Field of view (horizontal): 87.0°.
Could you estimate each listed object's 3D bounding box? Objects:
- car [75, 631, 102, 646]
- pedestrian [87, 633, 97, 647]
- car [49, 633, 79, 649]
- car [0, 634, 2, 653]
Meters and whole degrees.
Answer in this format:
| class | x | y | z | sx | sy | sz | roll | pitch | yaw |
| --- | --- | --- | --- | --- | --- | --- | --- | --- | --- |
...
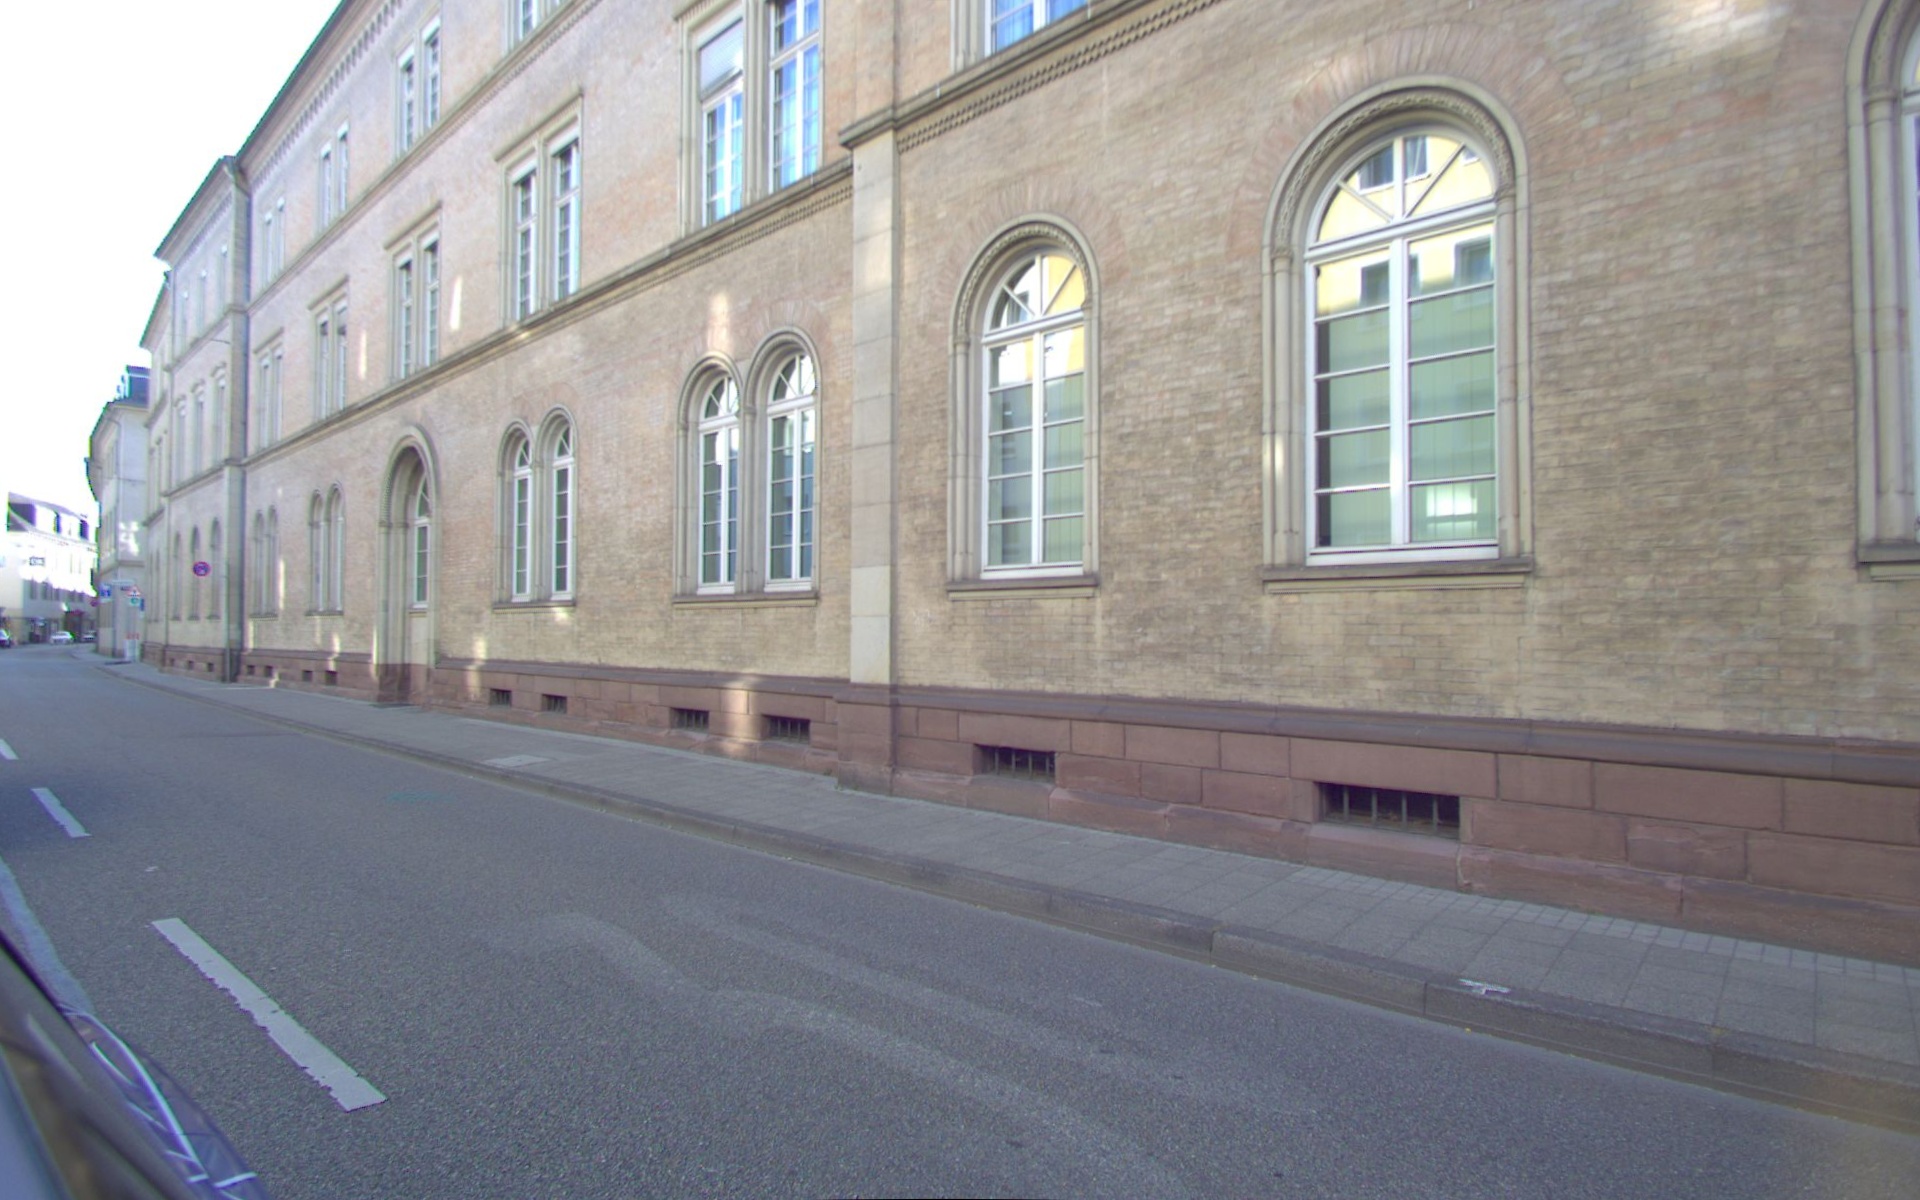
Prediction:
| class | x | y | z | sx | sy | sz | roll | pitch | yaw |
| --- | --- | --- | --- | --- | --- | --- | --- | --- | --- |
| car | -109.239 | 4.793 | 126.842 | 1.966 | 1.665 | 4.240 | -1 | 0 | -33 |
| pedestrian | -102.302 | 4.737 | 119.253 | 0.694 | 1.648 | 0.834 | 5 | -4 | -38 |
| car | -102.865 | 4.713 | 116.189 | 1.966 | 1.665 | 4.240 | -1 | 0 | -33 |
| car | -86.624 | 3.916 | 89.964 | 1.969 | 1.665 | 4.235 | -1 | 0 | -41 |
